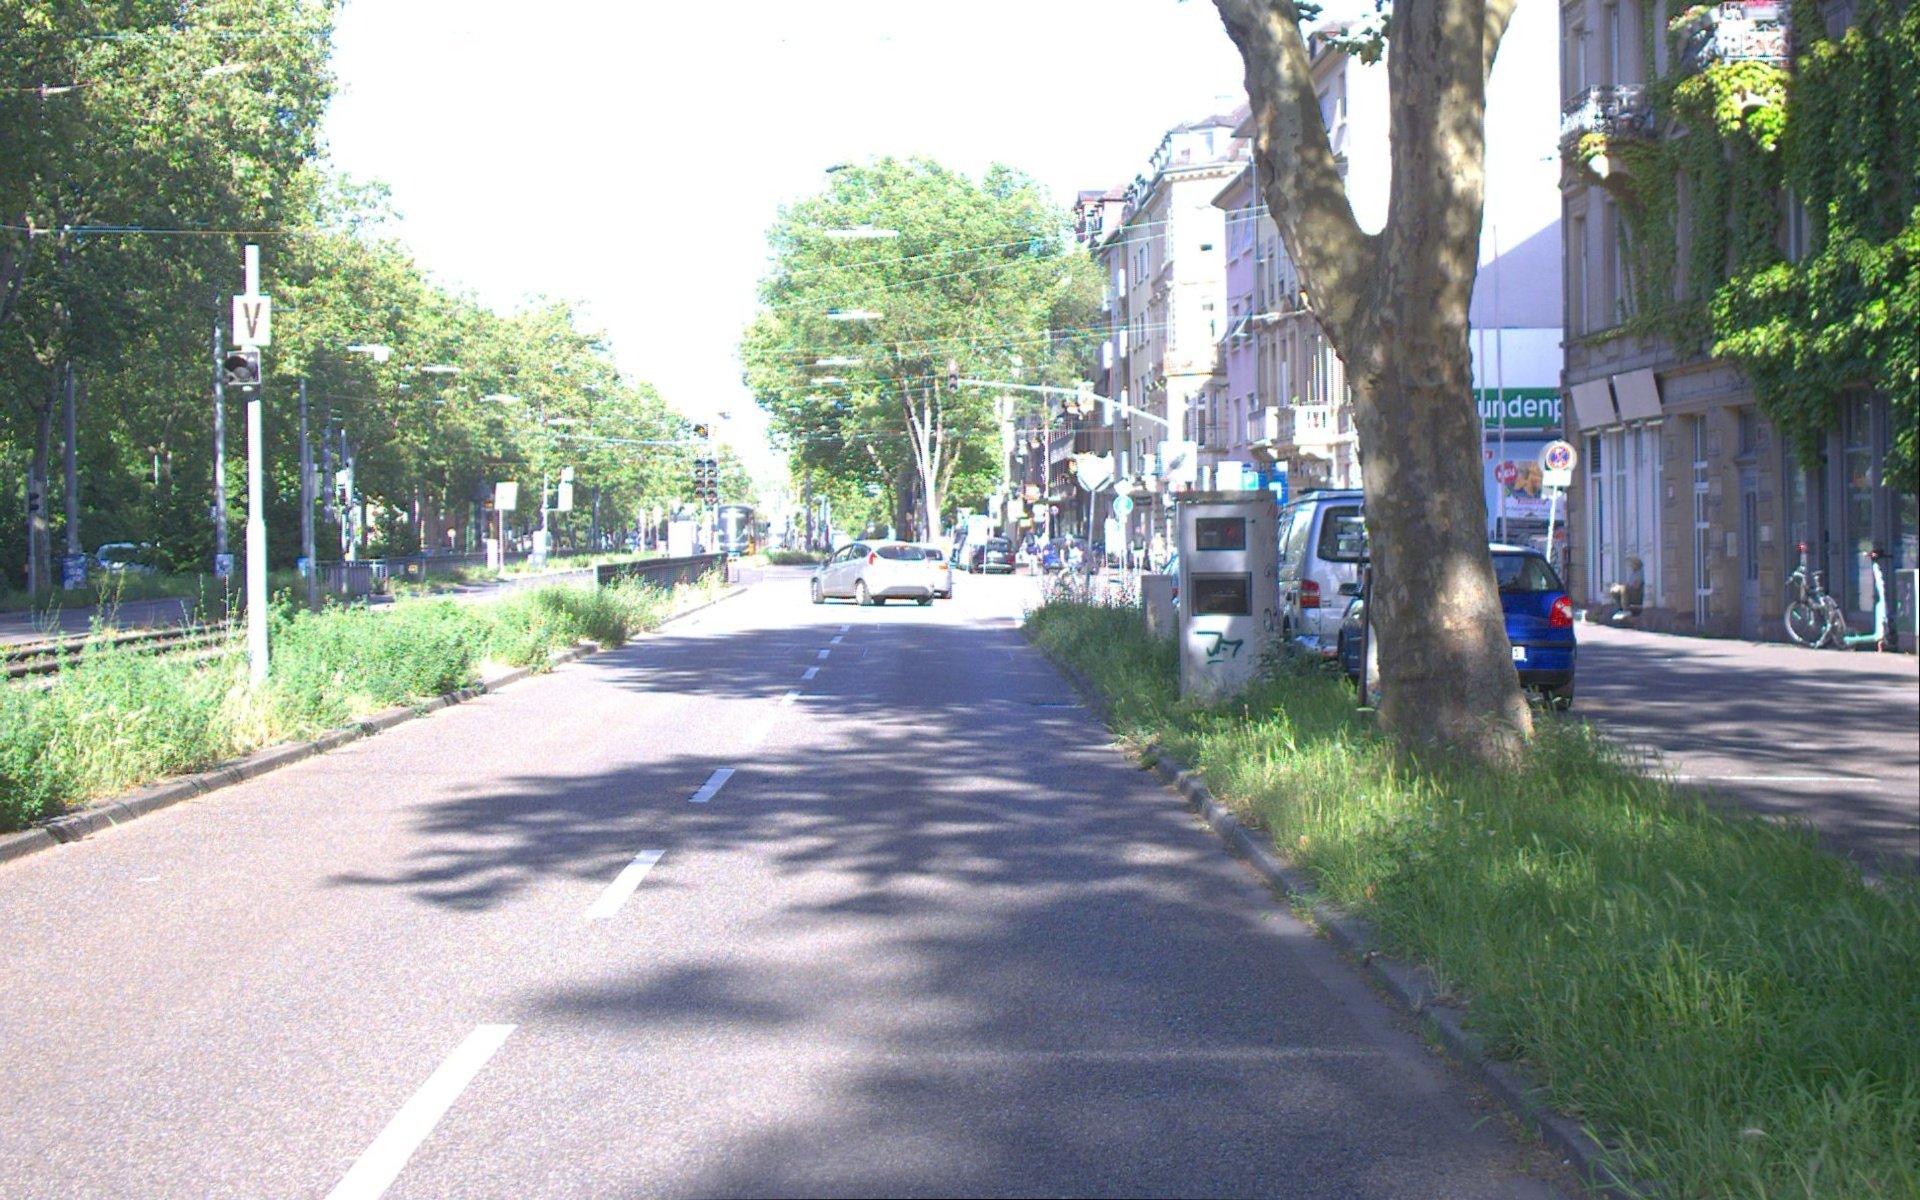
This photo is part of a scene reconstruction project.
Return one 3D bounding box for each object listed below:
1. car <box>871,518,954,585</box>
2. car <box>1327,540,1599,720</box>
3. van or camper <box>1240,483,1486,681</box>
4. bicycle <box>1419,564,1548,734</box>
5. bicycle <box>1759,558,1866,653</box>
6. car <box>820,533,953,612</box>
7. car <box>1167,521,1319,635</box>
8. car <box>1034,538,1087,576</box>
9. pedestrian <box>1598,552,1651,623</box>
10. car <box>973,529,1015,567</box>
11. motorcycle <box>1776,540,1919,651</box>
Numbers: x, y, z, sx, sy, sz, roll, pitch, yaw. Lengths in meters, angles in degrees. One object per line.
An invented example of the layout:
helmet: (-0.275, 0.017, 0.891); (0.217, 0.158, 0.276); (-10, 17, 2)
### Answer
car: (-1.253, -1.264, 88.611); (2.021, 1.656, 4.001); (-1, 1, -2)
car: (4.487, 0.224, 31.141); (1.682, 1.508, 3.668); (0, 1, -4)
van or camper: (4.193, -0.237, 36.544); (1.839, 1.956, 5.127); (0, 1, -2)
bicycle: (3.261, 0.289, 21.495); (0.588, 0.987, 1.450); (-1, 2, 1)
bicycle: (10.909, 0.055, 44.057); (0.887, 1.130, 2.399); (-1, 2, 3)
car: (-1.656, -0.634, 76.305); (2.021, 1.656, 4.001); (-1, 1, -15)
car: (3.863, -0.334, 47.419); (1.683, 1.504, 3.668); (0, 1, -2)
car: (4.028, -1.721, 136.930); (1.683, 1.504, 3.666); (0, 1, 9)
pedestrian: (10.862, -0.212, 56.203); (0.707, 1.147, 0.740); (-1, 1, 0)
car: (1.382, -2.115, 139.950); (1.683, 1.504, 3.668); (0, 1, 0)
motorcycle: (10.909, -0.059, 41.725); (1.894, 1.264, 0.557); (3, 2, 45)
